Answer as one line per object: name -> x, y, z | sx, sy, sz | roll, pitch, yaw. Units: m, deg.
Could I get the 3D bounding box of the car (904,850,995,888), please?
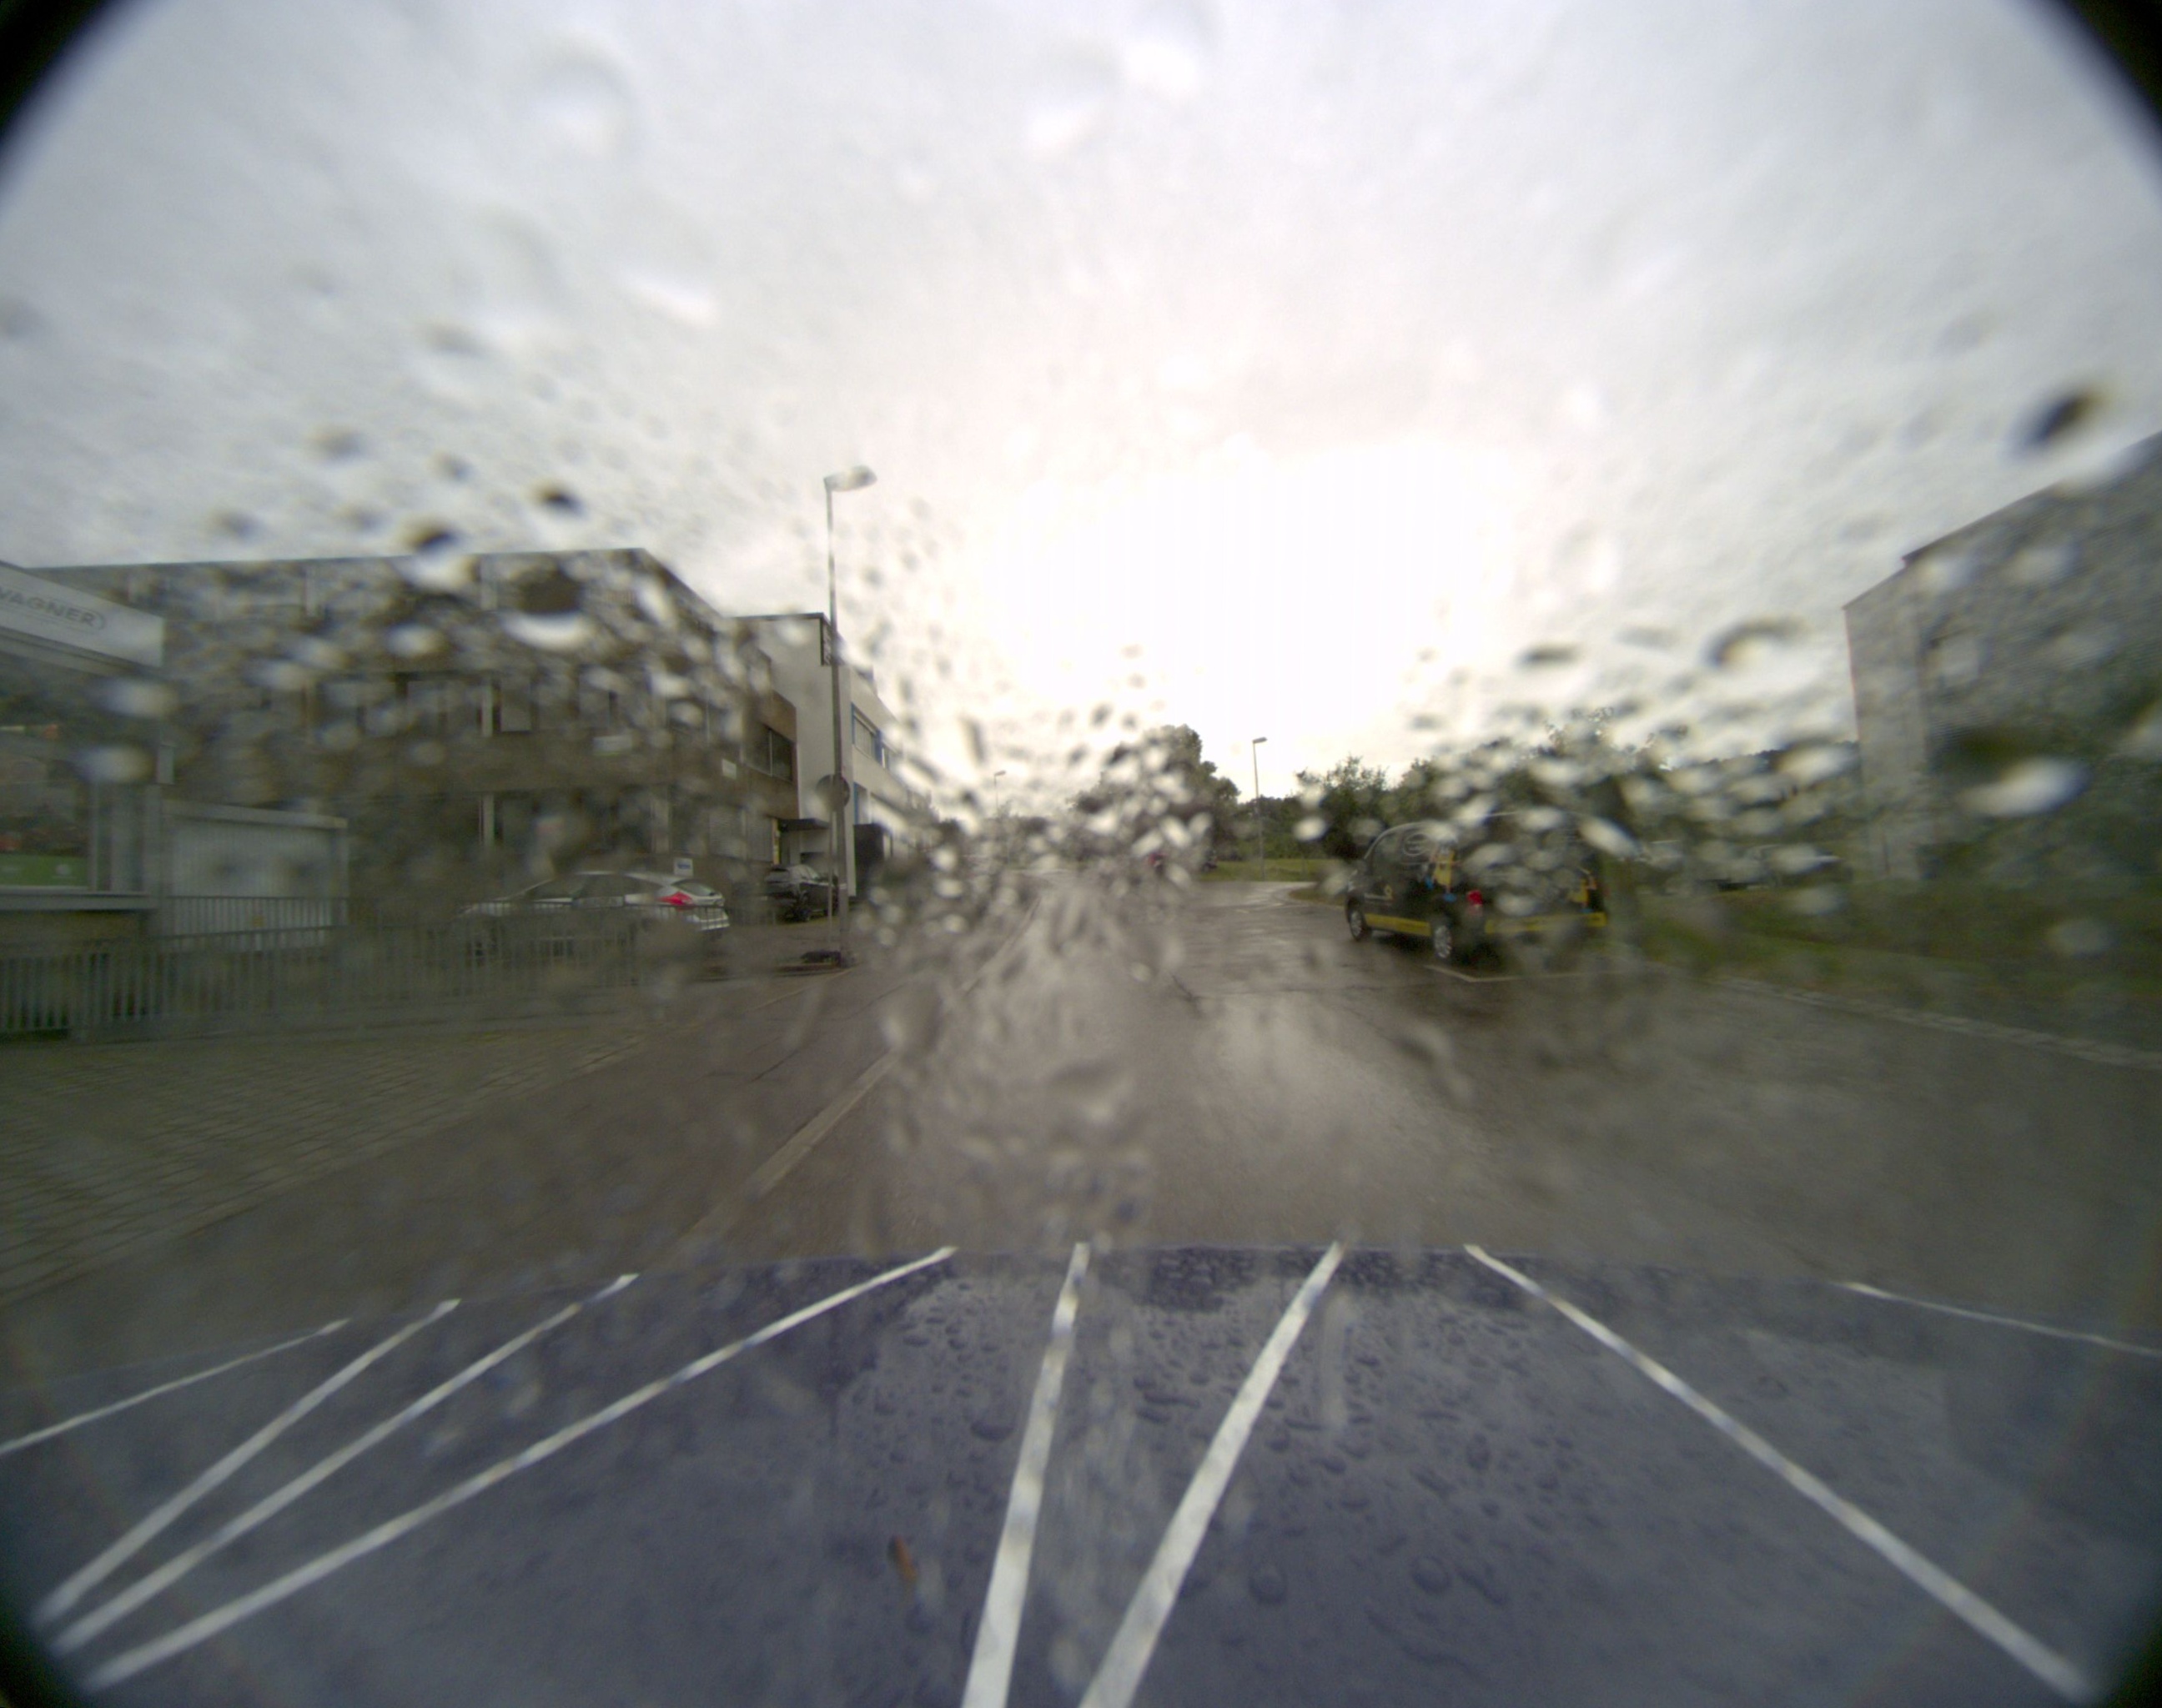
car -> -6.683, 0.743, 39.077 | 4.353, 1.763, 2.088 | -2, 0, -4

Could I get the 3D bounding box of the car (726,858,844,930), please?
car -> -8.441, 1.058, 22.131 | 1.753, 1.740, 4.472 | -2, 1, -2

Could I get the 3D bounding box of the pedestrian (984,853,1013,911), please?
pedestrian -> -2.586, 0.853, 23.884 | 0.738, 1.757, 0.808 | -3, 1, -1

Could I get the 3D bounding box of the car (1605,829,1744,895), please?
car -> 19.829, 0.321, 25.745 | 2.131, 1.910, 5.620 | -3, -3, 21

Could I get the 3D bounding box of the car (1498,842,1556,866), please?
car -> 42.958, 0.025, 73.248 | 4.493, 2.207, 1.932 | -1, 0, 17

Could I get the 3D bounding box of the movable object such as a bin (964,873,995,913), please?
movable object such as a bin -> -2.884, 1.093, 21.567 | 0.745, 1.060, 0.636 | -3, 0, -1

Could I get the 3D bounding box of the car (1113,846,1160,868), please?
car -> 5.177, 0.259, 71.629 | 4.085, 1.712, 2.024 | -4, 1, -3

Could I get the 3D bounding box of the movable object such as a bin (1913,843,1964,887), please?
movable object such as a bin -> 22.002, 0.277, 19.502 | 0.635, 1.090, 0.675 | -1, 0, 24

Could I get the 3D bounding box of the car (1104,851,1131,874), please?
car -> 2.615, 0.600, 55.565 | 1.751, 1.500, 3.934 | -3, 1, 1

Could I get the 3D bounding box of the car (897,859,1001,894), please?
car -> -6.163, 1.047, 36.024 | 4.609, 1.529, 2.079 | -1, 0, -3

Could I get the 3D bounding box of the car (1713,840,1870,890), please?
car -> 21.980, 0.304, 23.786 | 1.995, 1.388, 4.697 | -1, 0, 22

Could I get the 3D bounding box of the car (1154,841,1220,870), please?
car -> 7.436, 0.080, 53.516 | 4.311, 1.895, 1.862 | -2, 1, 1

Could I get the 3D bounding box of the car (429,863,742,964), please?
car -> -8.481, 0.974, 13.348 | 4.132, 1.565, 2.003 | 0, 1, -3

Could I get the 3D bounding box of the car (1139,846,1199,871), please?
car -> 6.734, 0.348, 58.511 | 4.209, 1.712, 1.754 | -2, 1, -8

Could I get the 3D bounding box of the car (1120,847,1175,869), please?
car -> 5.980, 0.338, 68.846 | 4.631, 1.581, 1.805 | -4, 1, -5

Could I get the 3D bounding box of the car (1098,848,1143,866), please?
car -> 4.092, 0.296, 79.591 | 4.382, 1.712, 2.043 | -2, 1, -9

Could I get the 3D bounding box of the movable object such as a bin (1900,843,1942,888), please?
movable object such as a bin -> 22.206, 0.298, 20.099 | 0.555, 1.159, 0.568 | -1, 0, 24

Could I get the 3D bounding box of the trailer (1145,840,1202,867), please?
trailer -> 7.487, -0.063, 61.492 | 4.225, 1.973, 1.773 | -2, 1, -5

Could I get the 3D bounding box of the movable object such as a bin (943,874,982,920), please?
movable object such as a bin -> -3.046, 1.104, 19.593 | 0.730, 1.107, 0.704 | -3, 0, 14

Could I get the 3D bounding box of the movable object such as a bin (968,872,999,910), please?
movable object such as a bin -> -2.859, 1.081, 22.302 | 0.773, 1.024, 0.808 | -3, 0, -1

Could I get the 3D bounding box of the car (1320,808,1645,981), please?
car -> 5.200, 0.439, 10.803 | 1.920, 1.820, 4.847 | -3, 0, -1
